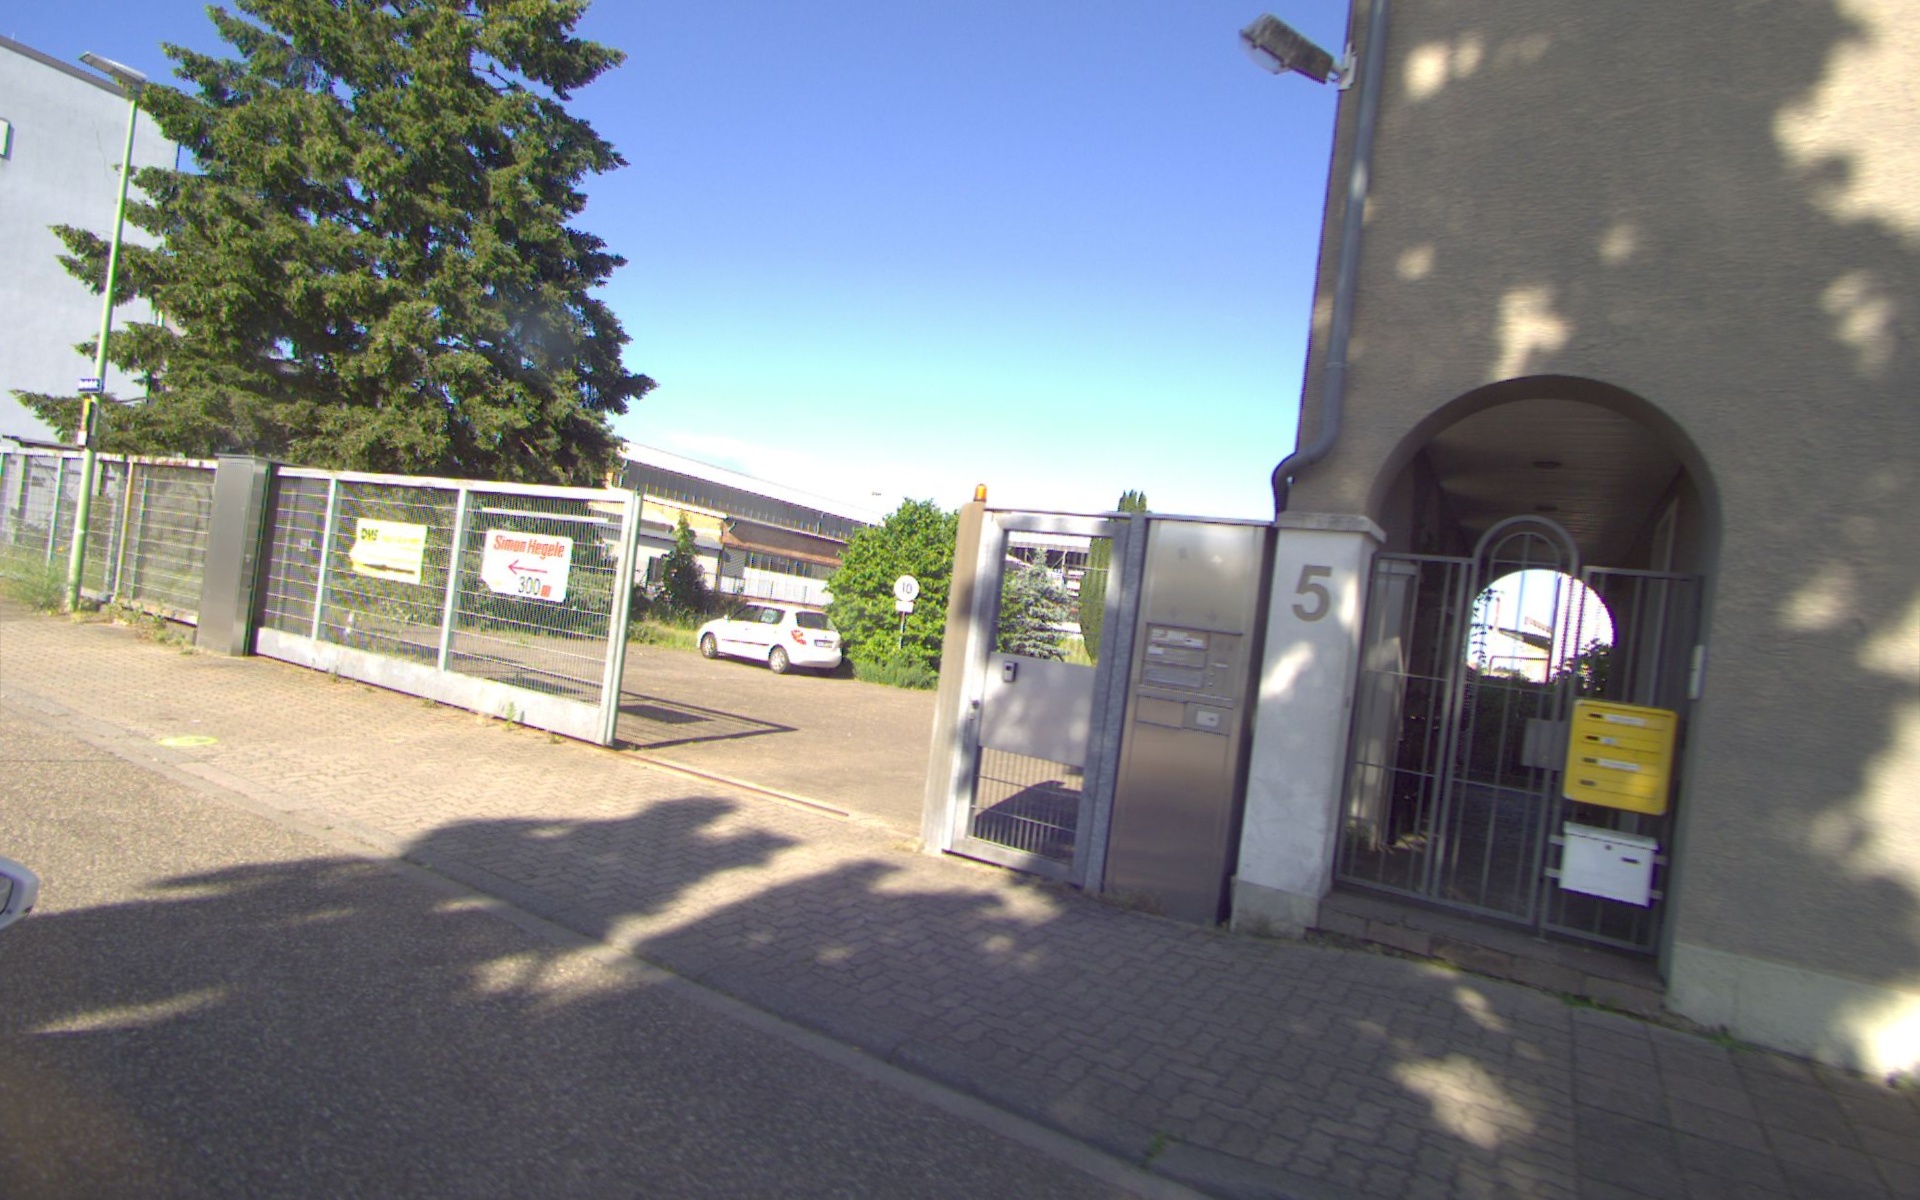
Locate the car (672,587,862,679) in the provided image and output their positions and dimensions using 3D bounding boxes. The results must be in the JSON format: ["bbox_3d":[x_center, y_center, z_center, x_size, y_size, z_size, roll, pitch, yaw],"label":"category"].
[{"bbox_3d":[-4.578,0.754,23.622,4.228,1.582,1.865,7,-1,36],"label":"car"}]
